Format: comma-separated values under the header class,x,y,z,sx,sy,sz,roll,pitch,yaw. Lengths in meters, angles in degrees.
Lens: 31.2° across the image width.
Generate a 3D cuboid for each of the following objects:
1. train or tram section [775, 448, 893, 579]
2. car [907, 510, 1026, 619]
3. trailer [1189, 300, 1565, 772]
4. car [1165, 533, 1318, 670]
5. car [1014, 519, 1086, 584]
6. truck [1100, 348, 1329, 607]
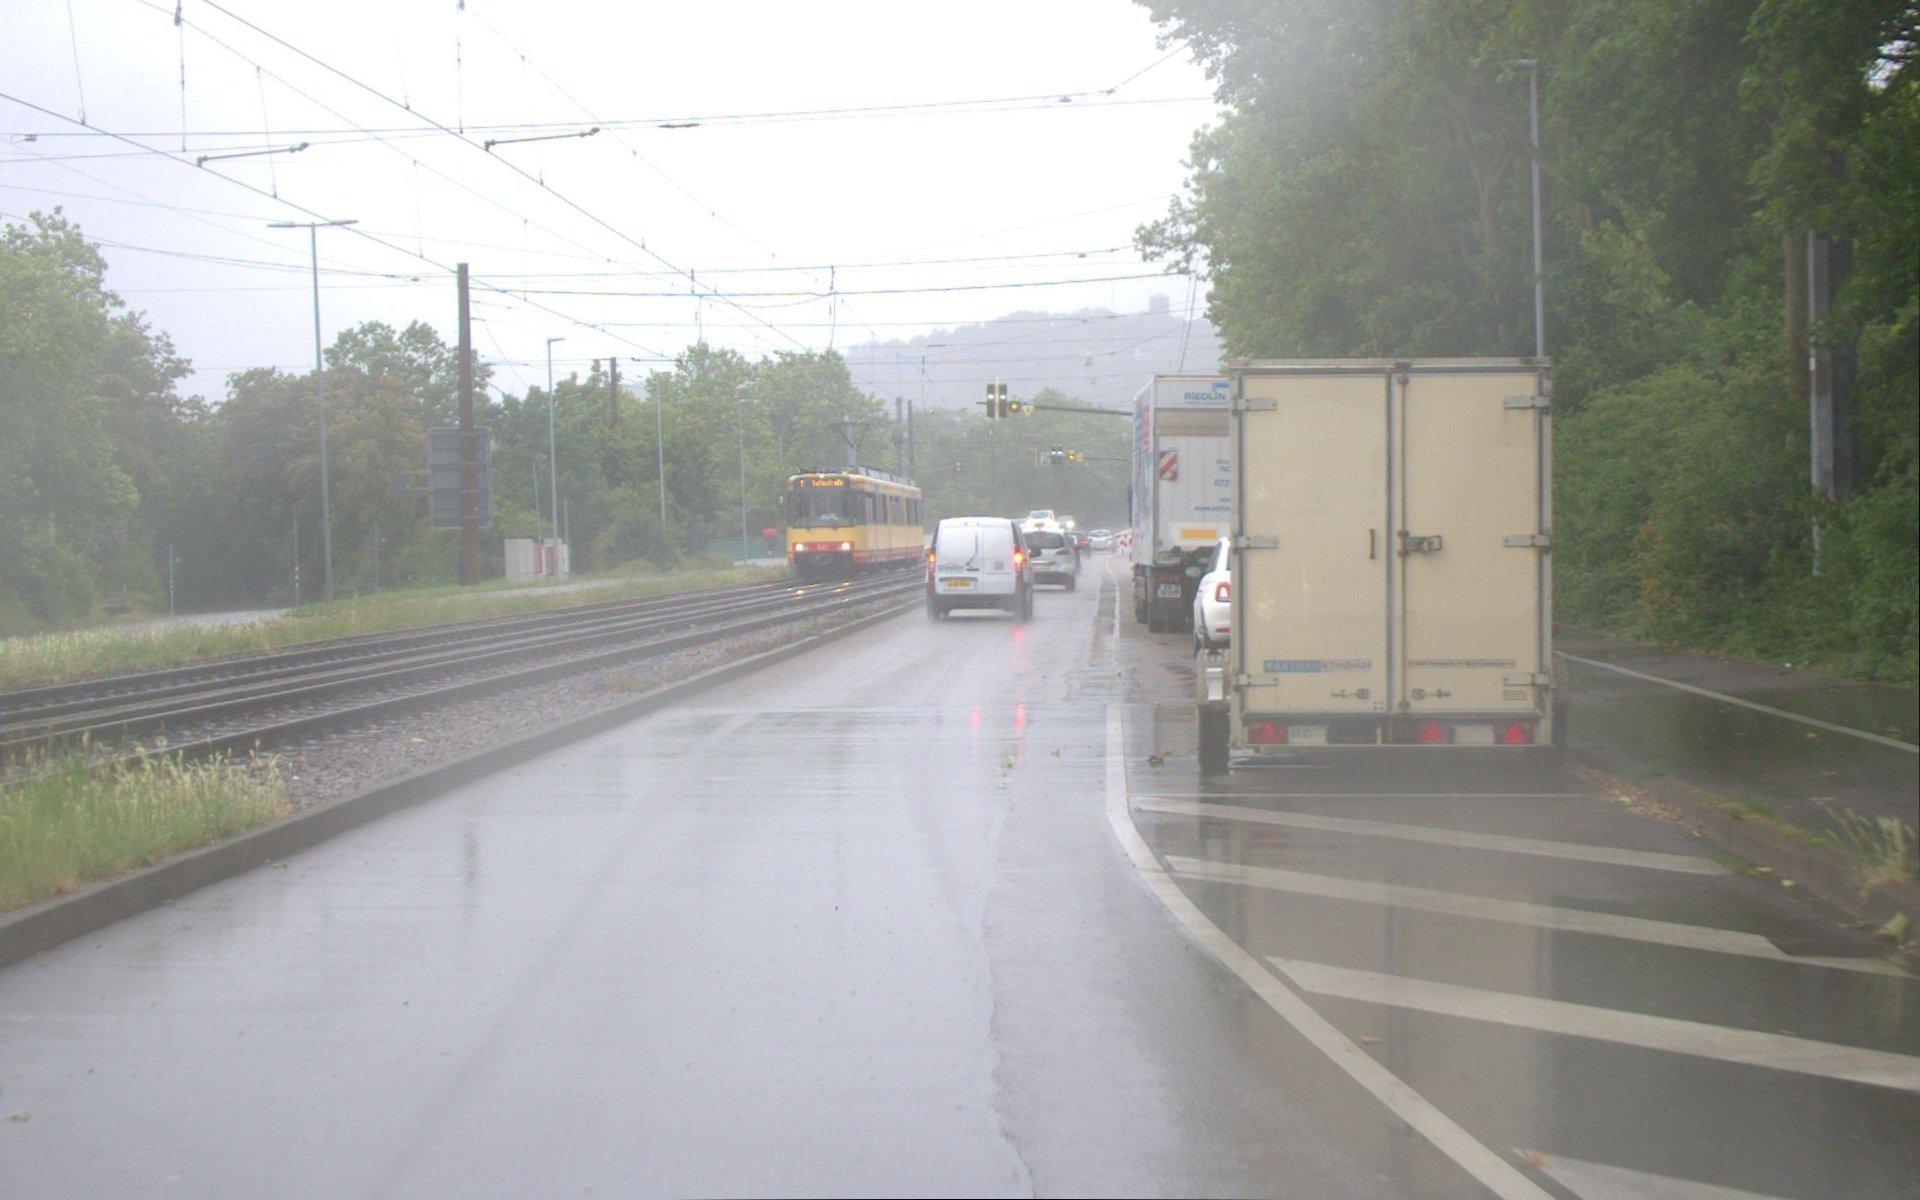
class,x,y,z,sx,sy,sz,roll,pitch,yaw
train or tram section,-4.149,-2.898,116.141,2.807,4.135,13.018,-1,1,3
car,0.083,-0.643,61.119,1.993,1.842,4.000,-1,1,-1
trailer,2.696,-0.397,23.002,2.166,2.748,5.675,-1,1,5
car,3.375,-0.023,41.082,1.713,1.524,3.999,-1,1,5
car,2.382,-1.249,89.727,1.786,1.637,3.968,-1,1,3
truck,3.851,-1.803,54.257,2.775,3.691,9.853,-1,1,0
